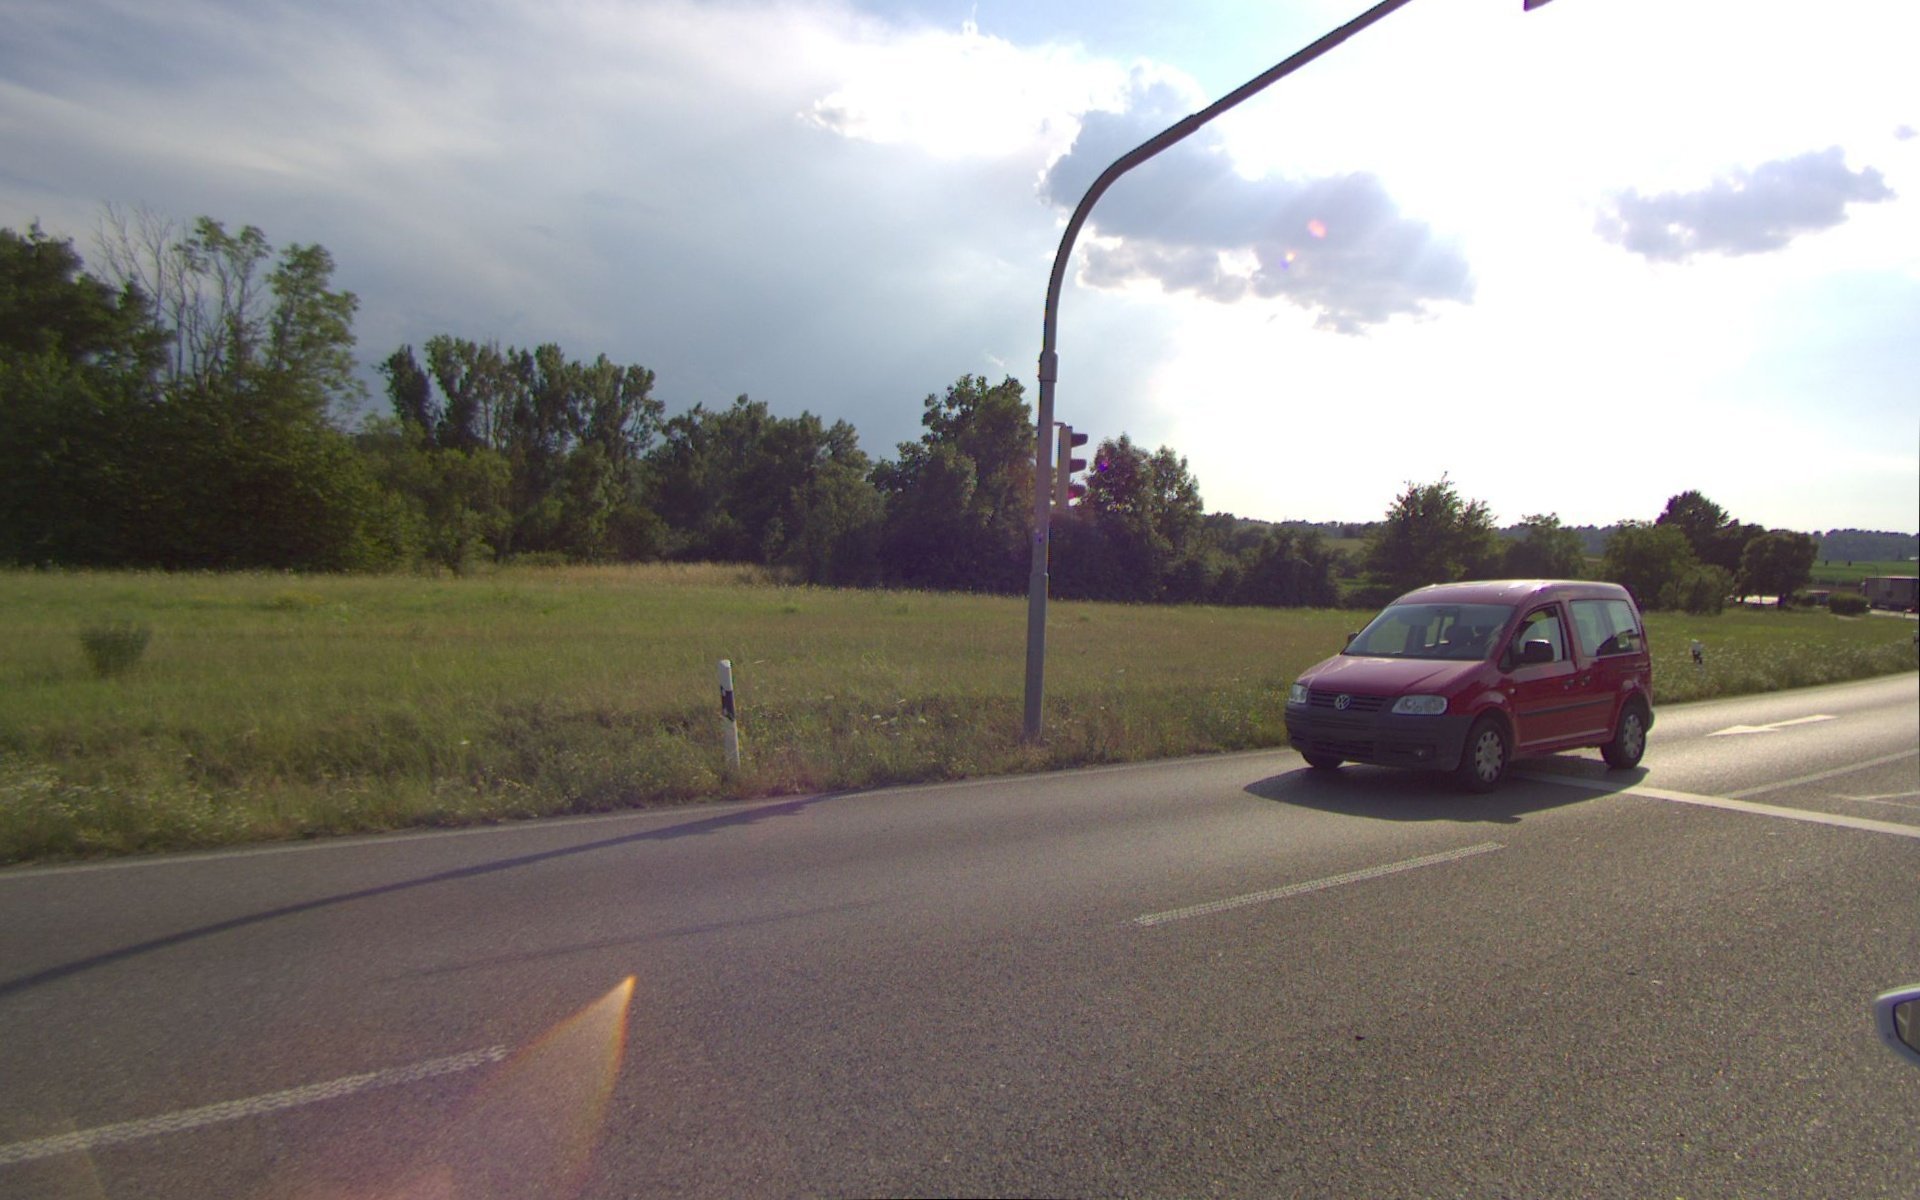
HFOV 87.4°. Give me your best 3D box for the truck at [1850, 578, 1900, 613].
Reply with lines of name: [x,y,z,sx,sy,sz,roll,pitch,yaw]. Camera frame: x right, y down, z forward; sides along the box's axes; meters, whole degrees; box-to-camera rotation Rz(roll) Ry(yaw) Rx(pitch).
truck: [119.476,-0.653,131.257,3.324,4.409,5.697,3,2,27]

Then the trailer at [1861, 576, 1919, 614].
trailer: [115.570,-0.591,123.624,3.324,4.409,14.273,3,2,27]

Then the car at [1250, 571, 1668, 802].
car: [4.986,0.701,9.851,4.278,1.799,1.868,1,0,-35]
